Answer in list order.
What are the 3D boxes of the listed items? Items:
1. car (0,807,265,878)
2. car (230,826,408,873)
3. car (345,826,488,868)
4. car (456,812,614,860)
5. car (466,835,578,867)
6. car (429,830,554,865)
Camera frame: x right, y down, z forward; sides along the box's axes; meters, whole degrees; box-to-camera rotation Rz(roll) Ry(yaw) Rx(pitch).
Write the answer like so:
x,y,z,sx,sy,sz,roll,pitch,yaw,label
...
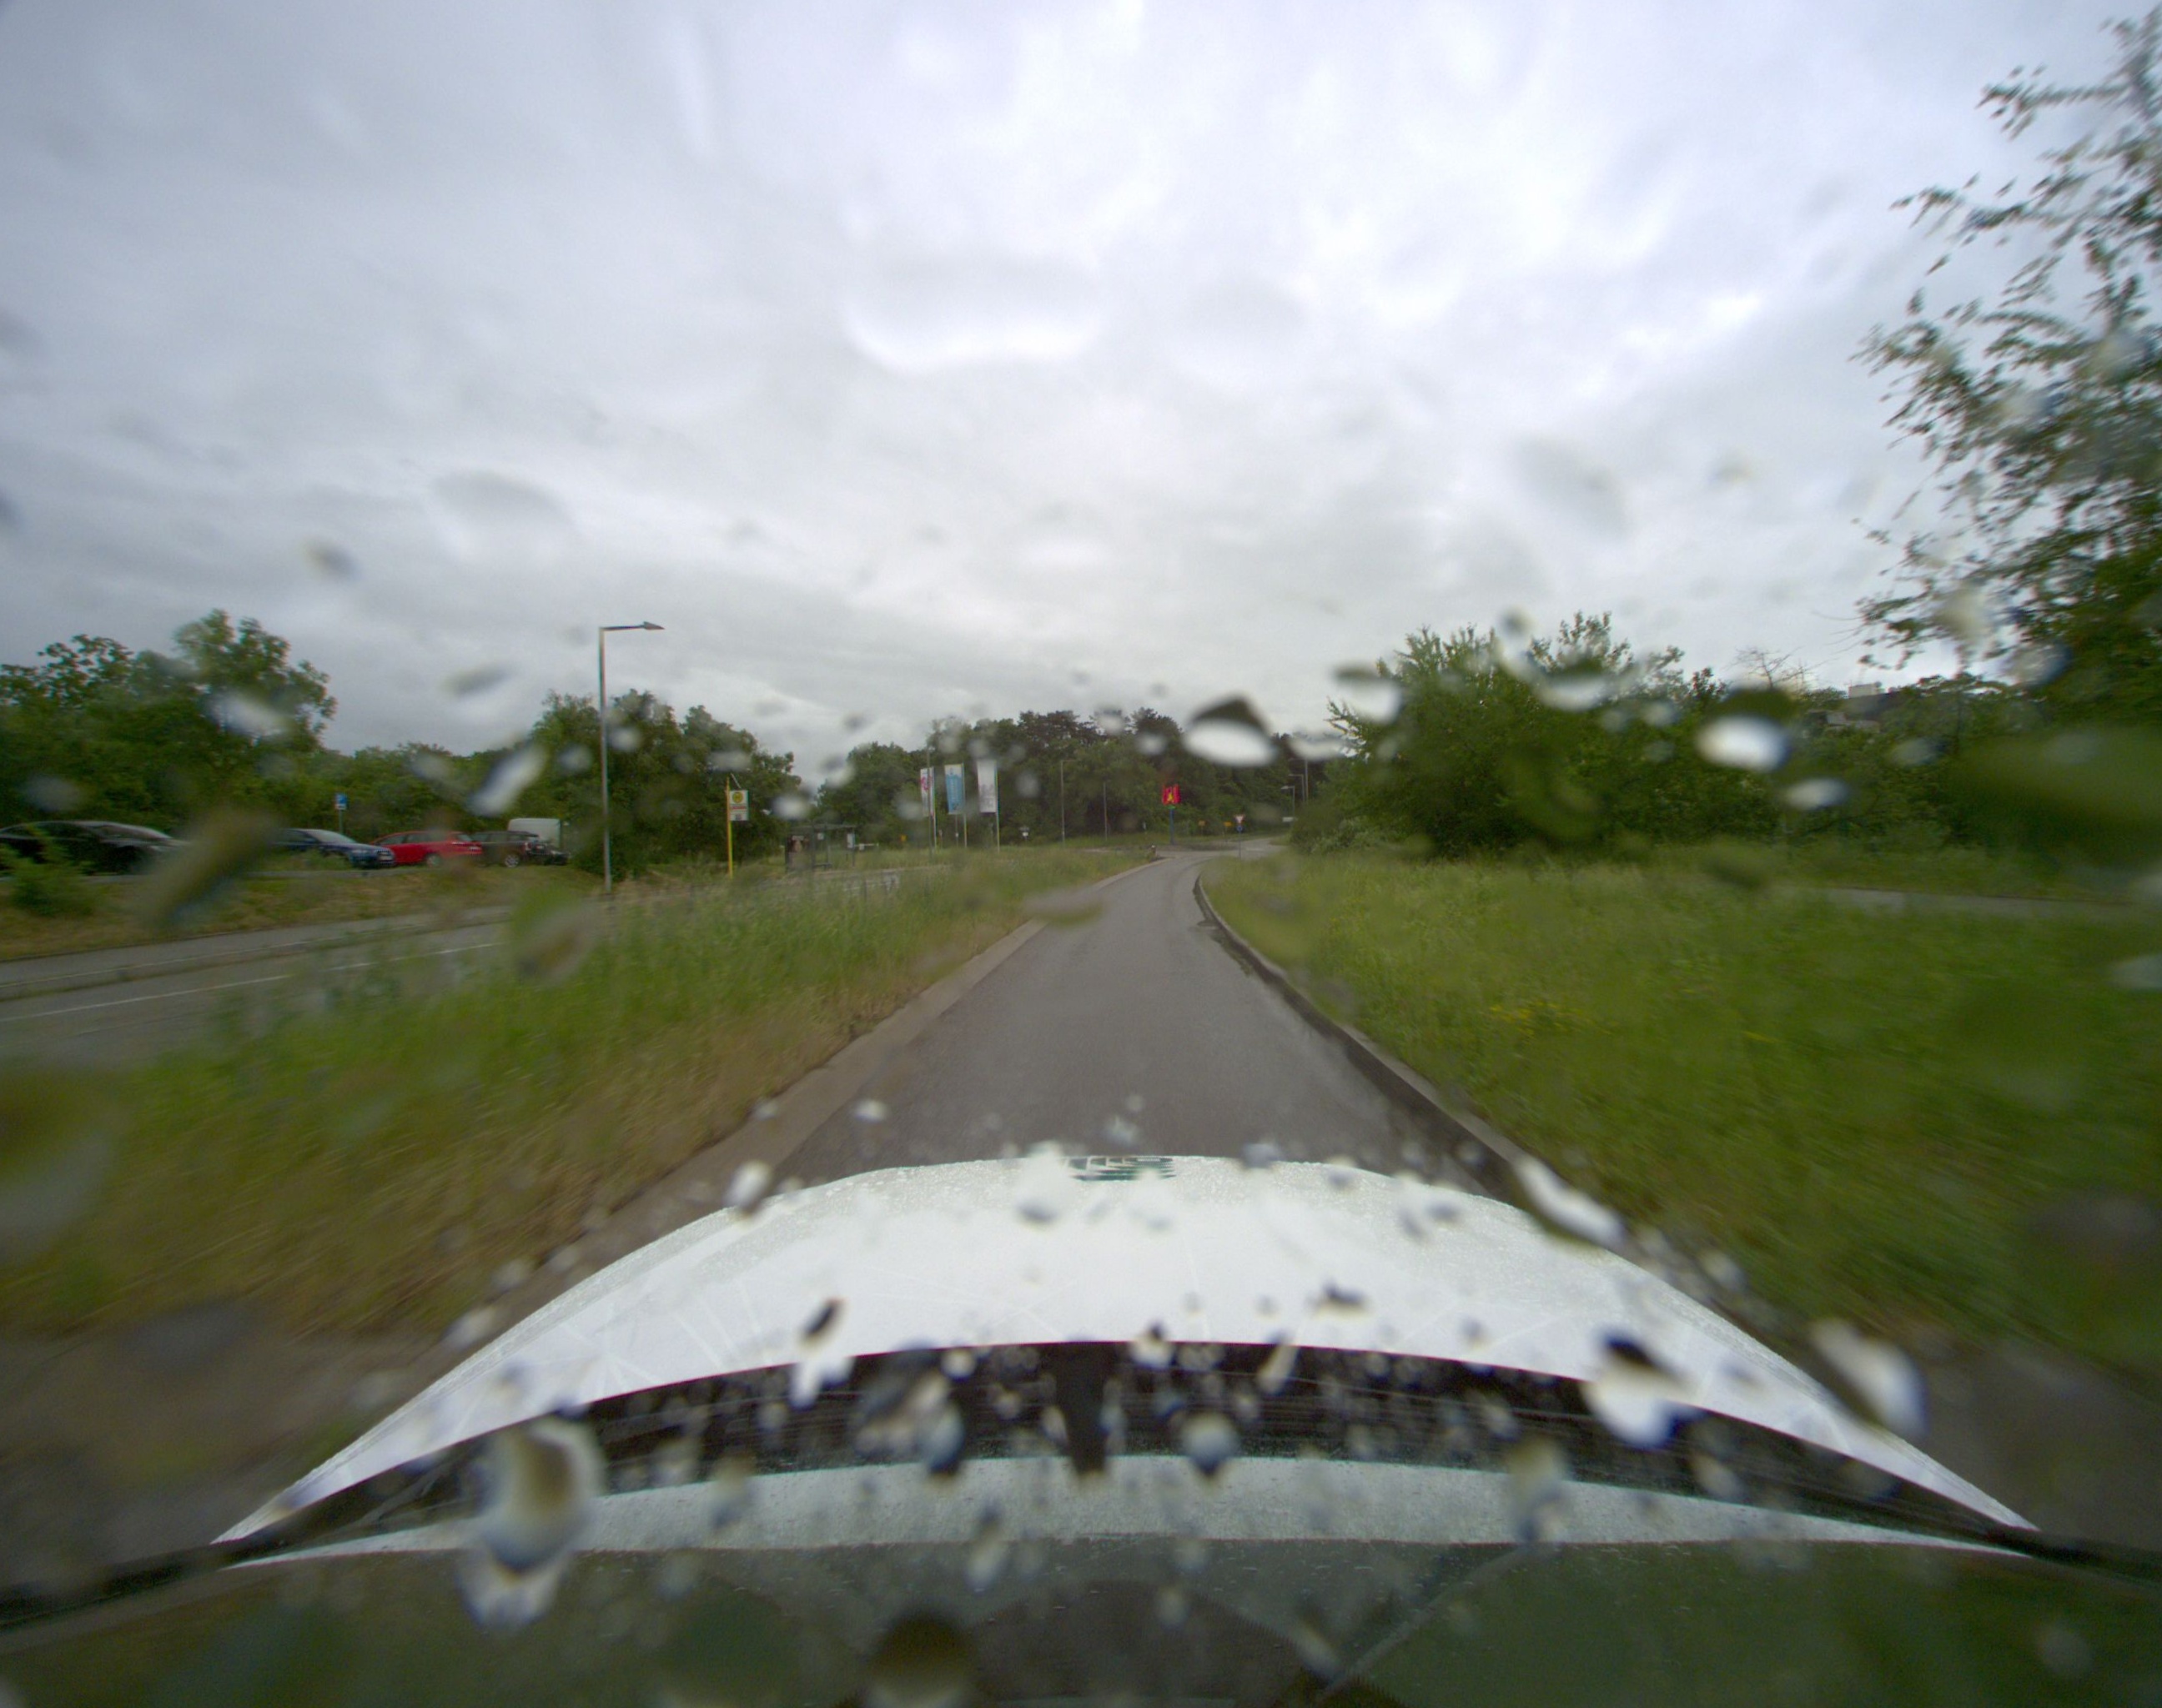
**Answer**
x,y,z,sx,sy,sz,roll,pitch,yaw,label
-24.123,-0.283,20.678,4.693,1.693,2.004,0,0,-1,car
-24.629,-0.155,26.434,3.973,1.364,1.900,1,1,1,car
-25.750,-0.280,31.655,3.975,1.469,1.847,-1,0,-1,car
-28.214,-0.900,42.273,6.544,2.397,2.135,0,-1,-5,car
-25.572,-0.133,37.337,3.973,1.364,1.653,1,0,1,car
-25.148,-0.279,34.835,3.973,1.364,1.848,-1,0,1,car
